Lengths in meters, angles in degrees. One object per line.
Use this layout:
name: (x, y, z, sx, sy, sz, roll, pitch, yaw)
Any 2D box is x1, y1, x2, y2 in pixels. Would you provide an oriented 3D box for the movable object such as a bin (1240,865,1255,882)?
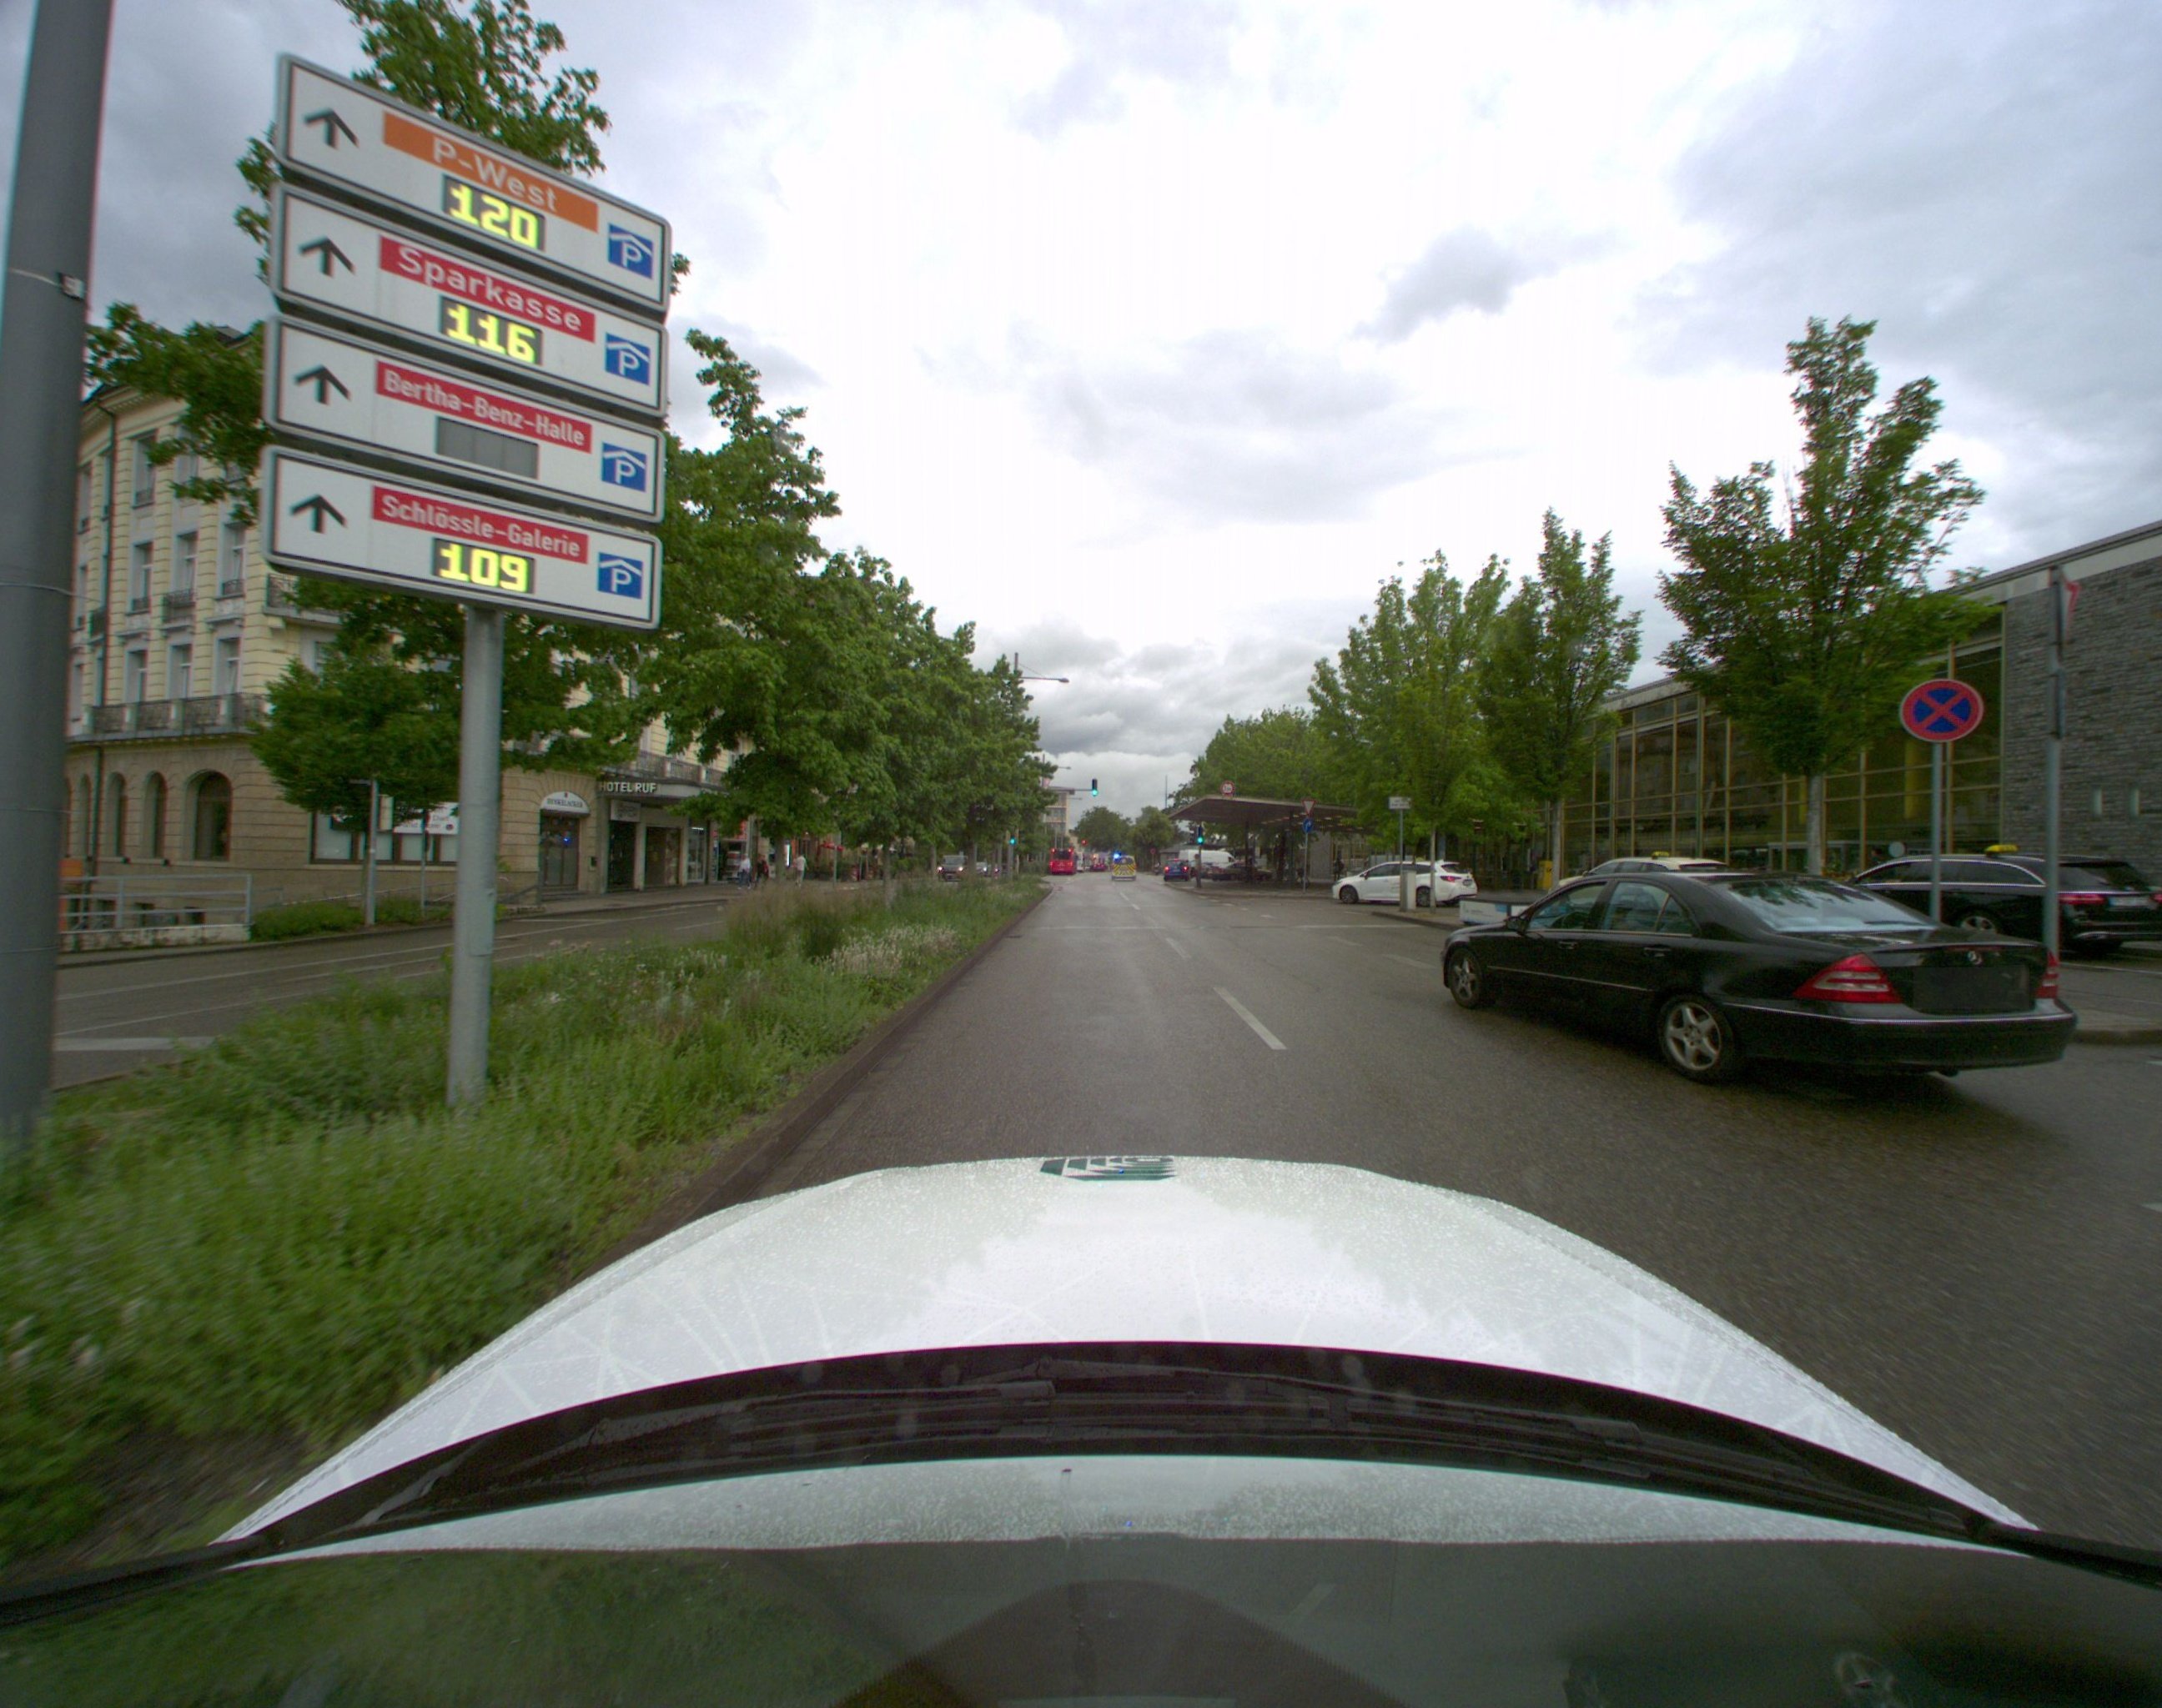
movable object such as a bin: (10.744, 1.265, 52.567, 0.751, 1.067, 0.747, -1, -1, -8)

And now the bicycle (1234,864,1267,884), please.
bicycle: (9.730, 1.151, 46.795, 1.832, 1.056, 0.418, -1, -1, -18)

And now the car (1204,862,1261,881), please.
car: (11.419, 1.334, 61.241, 4.012, 1.359, 1.847, 0, -2, -30)

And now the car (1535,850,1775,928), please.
car: (13.716, 0.773, 19.941, 1.992, 1.599, 4.946, -1, 0, -7)

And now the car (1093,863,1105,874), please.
car: (3.249, 2.601, 148.464, 1.986, 2.014, 4.000, -2, -1, 1)

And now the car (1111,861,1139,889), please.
car: (3.399, 1.611, 63.860, 1.986, 2.014, 5.062, -2, -1, 1)

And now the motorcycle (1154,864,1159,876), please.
motorcycle: (8.818, 1.842, 94.929, 0.592, 1.288, 1.957, -1, -1, 6)

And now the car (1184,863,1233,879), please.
car: (11.265, 1.510, 71.986, 4.007, 1.443, 1.849, 0, -2, -26)

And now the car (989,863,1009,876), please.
car: (-9.281, 1.749, 92.655, 1.741, 1.430, 3.953, -2, -1, 1)

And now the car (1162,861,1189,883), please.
car: (7.037, 1.344, 60.707, 1.850, 1.569, 4.005, 0, -1, 5)

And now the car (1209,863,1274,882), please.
car: (11.340, 1.280, 57.576, 4.198, 1.325, 1.828, 0, -2, -19)

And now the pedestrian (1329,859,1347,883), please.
pedestrian: (17.074, 1.120, 54.068, 0.864, 1.559, 0.812, -1, -1, -6)

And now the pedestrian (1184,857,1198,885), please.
pedestrian: (8.252, 1.255, 60.881, 0.829, 2.014, 0.888, -1, -1, -4)

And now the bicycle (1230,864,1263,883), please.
bicycle: (9.613, 1.153, 47.285, 1.832, 1.056, 0.418, -1, -1, -18)

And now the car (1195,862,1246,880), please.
car: (11.963, 1.457, 69.785, 4.007, 1.443, 1.849, 0, -2, -26)

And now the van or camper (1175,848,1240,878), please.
van or camper: (12.127, 0.860, 78.048, 5.978, 2.763, 2.179, -1, -1, -27)

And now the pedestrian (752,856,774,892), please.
pedestrian: (-14.840, 0.940, 38.029, 0.679, 1.664, 0.807, -2, -1, 1)

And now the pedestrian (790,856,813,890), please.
pedestrian: (-15.226, 1.037, 44.380, 0.876, 1.813, 0.750, -4, -1, 0)

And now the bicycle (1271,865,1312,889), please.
bicycle: (9.919, 1.073, 38.366, 1.821, 1.056, 0.420, -2, -1, 0)

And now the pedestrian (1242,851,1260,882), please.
pedestrian: (10.373, 0.761, 49.723, 0.853, 1.835, 1.190, -1, -2, 0)

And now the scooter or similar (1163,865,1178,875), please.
scooter or similar: (10.743, 1.948, 97.637, 2.161, 1.110, 0.423, 0, -1, -39)

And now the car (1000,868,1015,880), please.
car: (-9.990, 2.664, 110.195, 1.592, 1.531, 3.653, -2, -1, 1)

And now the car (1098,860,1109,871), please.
car: (4.487, 2.339, 163.852, 1.986, 2.014, 4.000, -2, -1, 1)

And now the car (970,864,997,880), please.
car: (-9.669, 1.768, 80.966, 1.986, 1.543, 4.633, -2, -1, 1)

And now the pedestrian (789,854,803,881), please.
pedestrian: (-17.613, 0.833, 50.293, 0.666, 1.664, 0.535, -1, -1, -8)

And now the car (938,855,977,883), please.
car: (-9.431, 1.137, 62.384, 1.986, 2.014, 5.003, -2, -1, 2)

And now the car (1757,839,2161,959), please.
car: (14.183, 0.626, 13.406, 1.987, 1.599, 4.957, 0, 0, 0)

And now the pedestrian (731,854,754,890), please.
pedestrian: (-15.738, 0.836, 37.889, 0.678, 1.664, 0.808, -2, -1, 4)

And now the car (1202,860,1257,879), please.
car: (11.760, 1.216, 64.439, 4.007, 1.443, 1.849, 0, -2, -26)

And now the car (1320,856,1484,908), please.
car: (10.342, 0.880, 26.554, 1.772, 1.546, 4.721, 0, -2, -39)

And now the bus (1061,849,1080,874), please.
bus: (-1.624, 1.270, 129.138, 2.797, 3.747, 10.440, -2, -1, -1)

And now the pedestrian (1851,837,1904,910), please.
pedestrian: (18.282, 0.435, 18.695, 0.727, 1.626, 0.787, 0, -2, -44)

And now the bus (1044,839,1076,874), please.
bus: (-2.509, 0.354, 99.659, 3.534, 3.980, 11.168, -2, -1, 0)

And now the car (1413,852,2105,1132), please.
car: (4.678, 0.782, 6.702, 1.692, 1.466, 4.442, -1, -1, -6)

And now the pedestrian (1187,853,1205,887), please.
pedestrian: (6.021, 0.826, 42.596, 0.745, 1.747, 0.834, -1, -2, -8)
